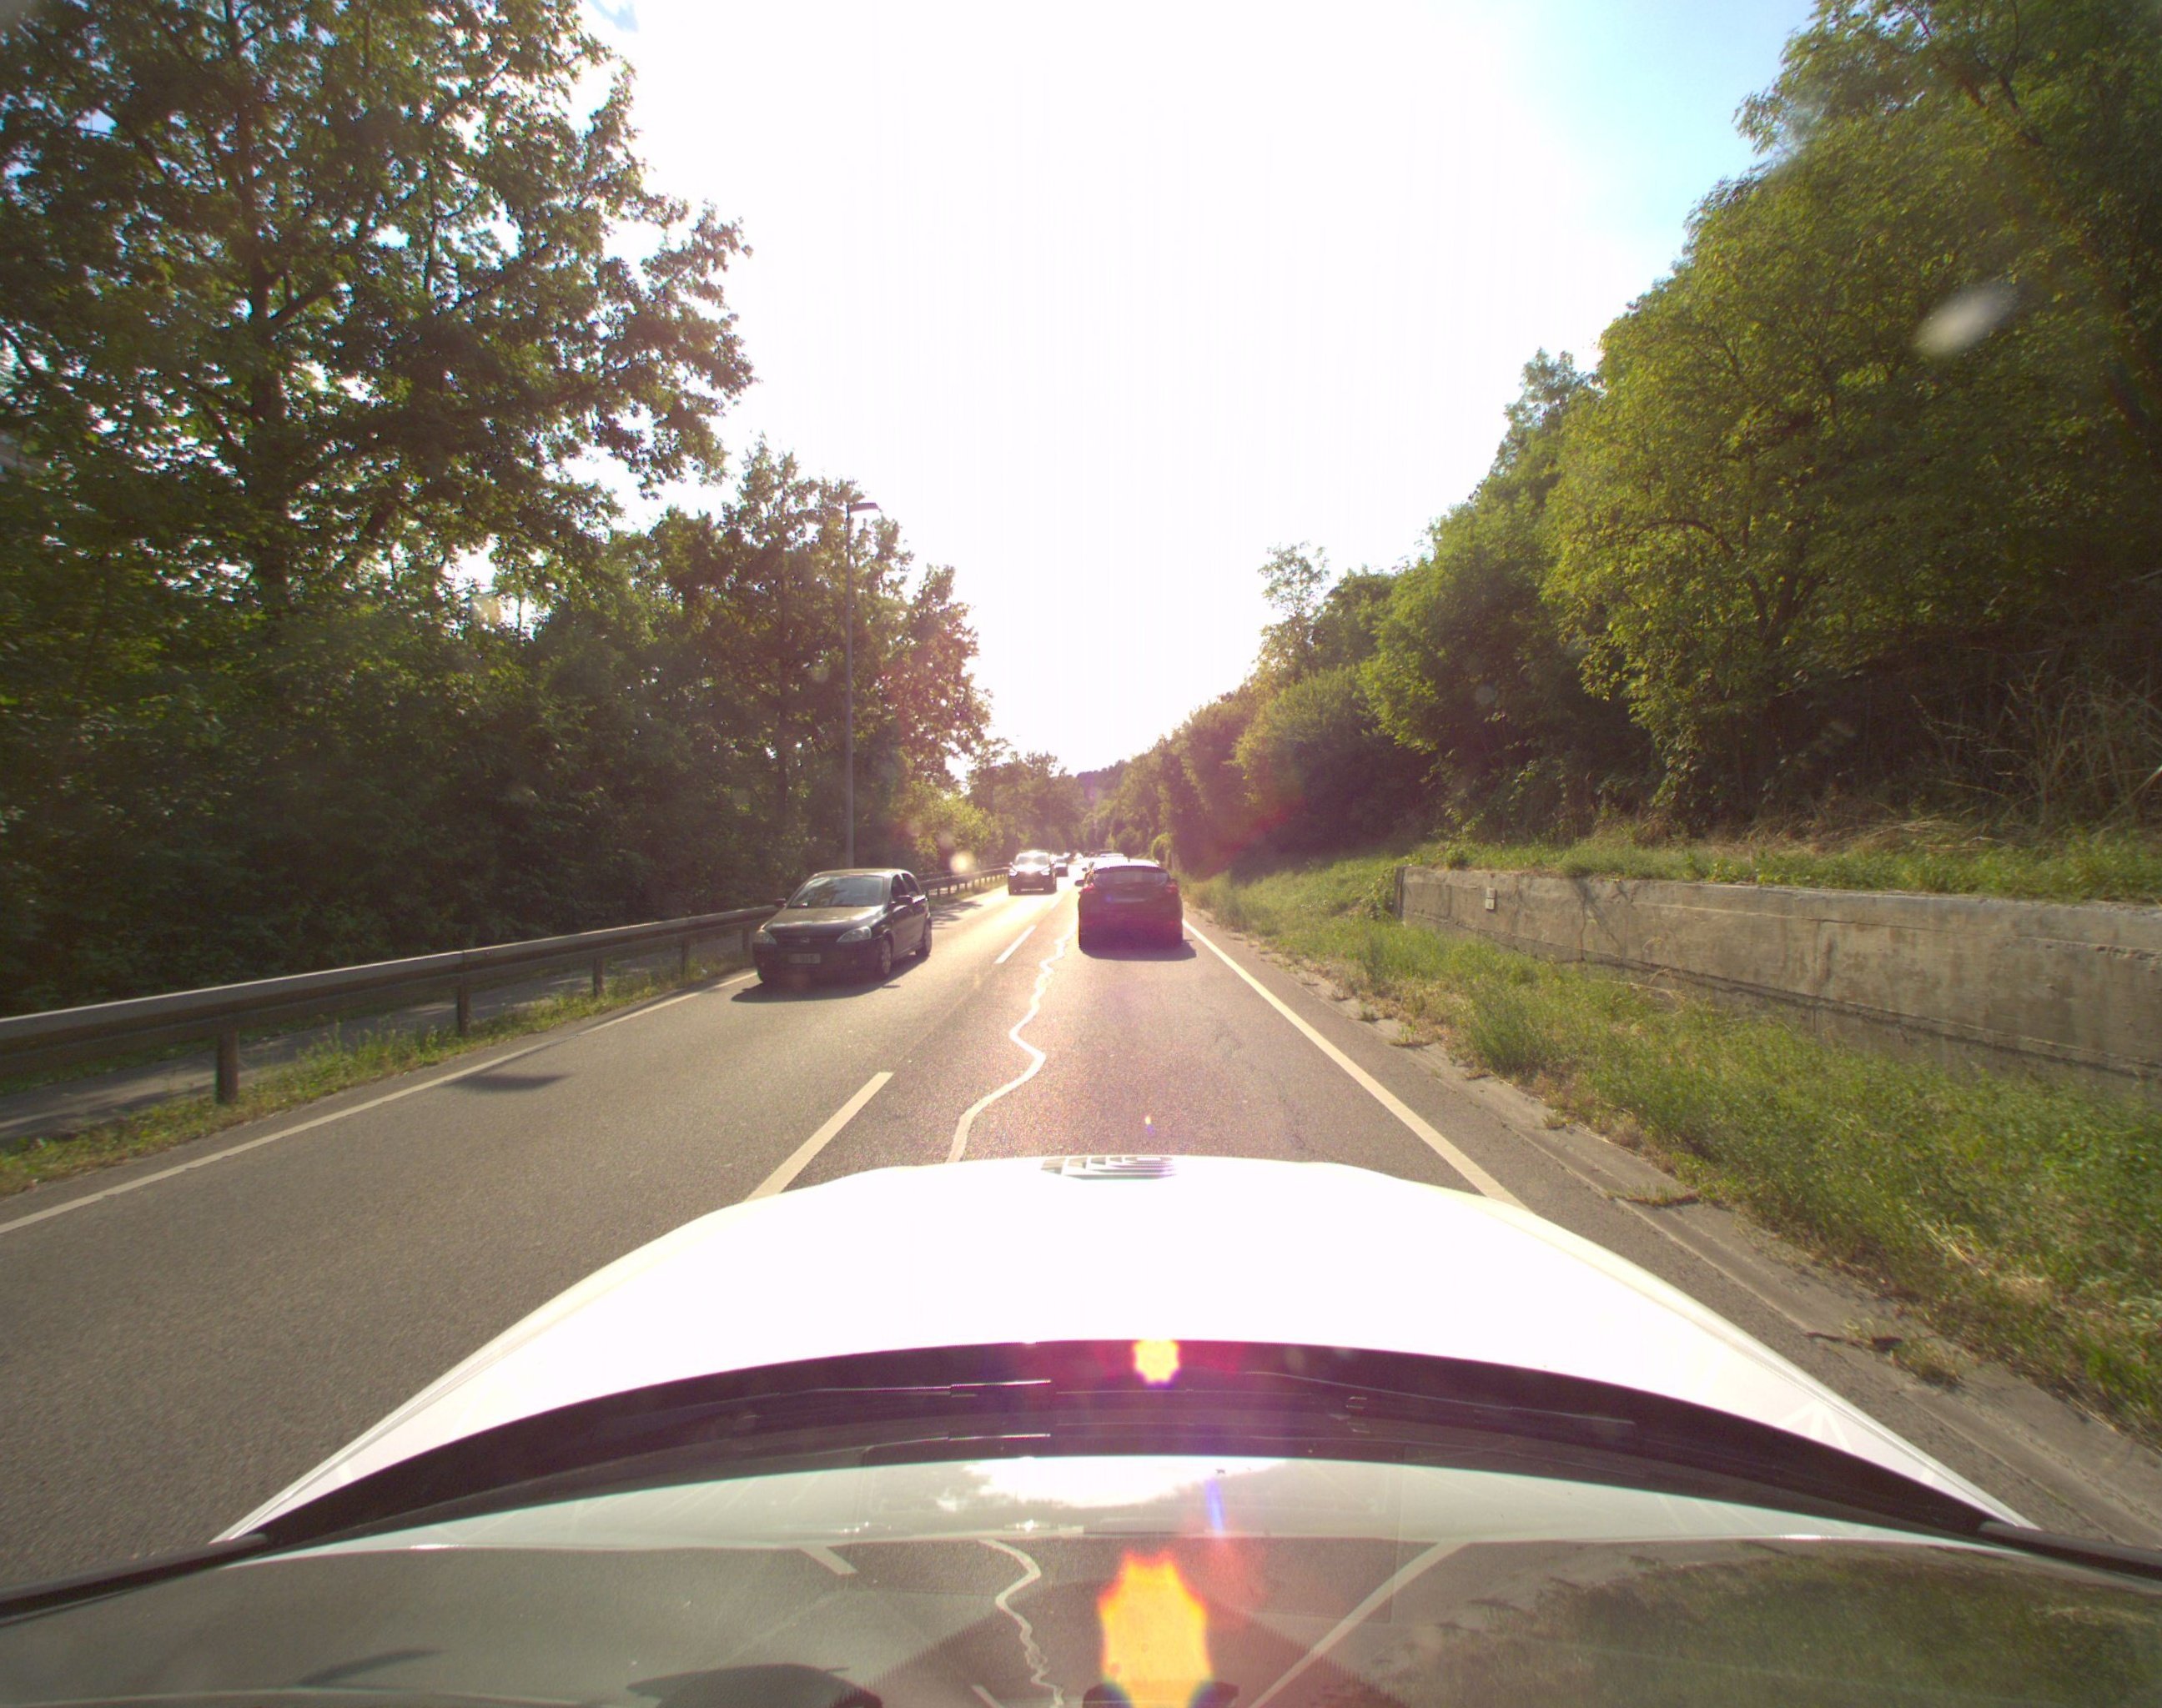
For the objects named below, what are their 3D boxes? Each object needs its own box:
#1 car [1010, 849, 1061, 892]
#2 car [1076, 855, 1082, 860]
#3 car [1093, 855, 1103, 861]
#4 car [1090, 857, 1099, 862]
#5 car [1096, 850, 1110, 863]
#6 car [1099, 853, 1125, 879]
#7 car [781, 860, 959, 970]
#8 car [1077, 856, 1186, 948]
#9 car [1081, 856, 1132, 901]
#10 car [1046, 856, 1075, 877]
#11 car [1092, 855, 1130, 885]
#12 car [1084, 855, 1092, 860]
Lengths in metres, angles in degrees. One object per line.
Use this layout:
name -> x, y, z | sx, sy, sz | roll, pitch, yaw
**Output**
car -> -1.949, 0.694, 35.950 | 1.741, 1.717, 4.224 | -1, 0, 3
car -> -0.520, 1.010, 234.559 | 1.619, 1.377, 4.043 | -3, 0, -3
car -> 4.468, 1.040, 213.271 | 1.991, 1.519, 3.992 | -1, 0, -6
car -> 3.845, 1.586, 234.325 | 1.991, 1.519, 3.992 | -1, 0, -6
car -> 3.206, 0.374, 119.123 | 1.857, 1.780, 3.999 | -1, 0, 0
car -> 1.998, 0.761, 52.904 | 1.624, 1.596, 4.002 | -1, 0, 2
car -> -3.202, 0.861, 13.195 | 1.675, 1.442, 4.002 | -1, 0, 2
car -> 0.876, 0.786, 15.120 | 1.733, 1.456, 4.002 | -1, 0, 2
car -> 0.955, 0.822, 29.118 | 1.654, 1.418, 4.003 | -1, 0, 3
car -> -1.430, 0.880, 58.648 | 1.684, 1.420, 4.145 | -2, 0, 3
car -> 1.534, 0.796, 41.447 | 1.798, 1.391, 4.002 | -1, 0, 2
car -> 2.102, 0.967, 248.518 | 1.991, 1.519, 3.992 | -1, 0, -6
